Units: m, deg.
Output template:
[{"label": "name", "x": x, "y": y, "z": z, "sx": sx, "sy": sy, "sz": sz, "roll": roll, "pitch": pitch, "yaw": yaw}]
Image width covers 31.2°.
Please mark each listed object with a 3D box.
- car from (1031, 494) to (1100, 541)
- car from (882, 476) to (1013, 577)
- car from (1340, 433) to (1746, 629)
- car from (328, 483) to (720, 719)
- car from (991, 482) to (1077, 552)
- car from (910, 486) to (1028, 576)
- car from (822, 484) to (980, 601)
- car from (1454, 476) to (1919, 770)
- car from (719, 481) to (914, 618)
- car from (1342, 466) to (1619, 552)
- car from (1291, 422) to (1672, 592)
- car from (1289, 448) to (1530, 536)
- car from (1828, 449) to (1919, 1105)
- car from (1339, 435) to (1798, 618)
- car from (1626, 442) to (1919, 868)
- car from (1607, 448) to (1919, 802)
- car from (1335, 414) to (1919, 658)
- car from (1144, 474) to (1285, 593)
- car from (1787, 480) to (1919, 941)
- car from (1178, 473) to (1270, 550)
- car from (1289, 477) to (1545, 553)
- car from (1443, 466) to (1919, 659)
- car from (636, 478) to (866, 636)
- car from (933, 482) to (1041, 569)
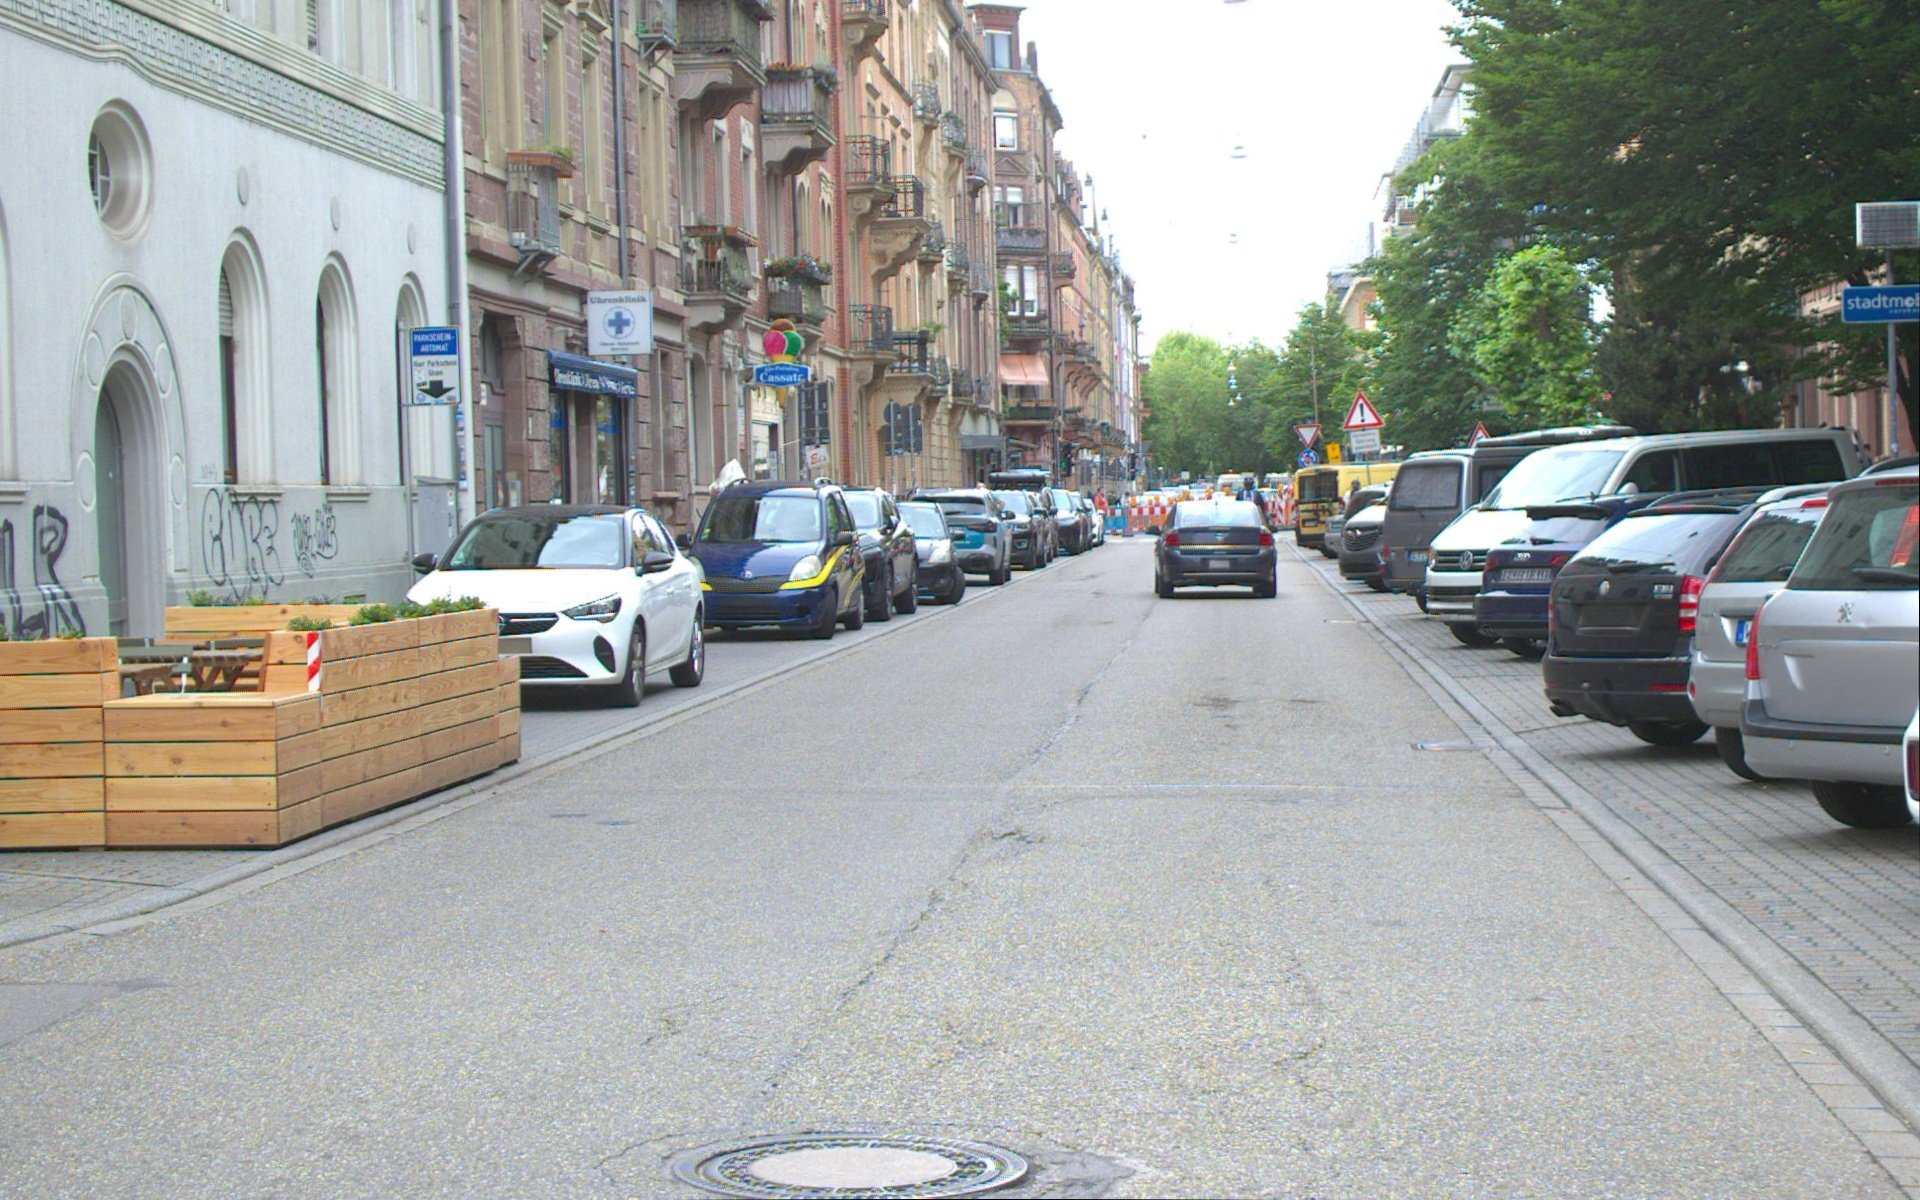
[{"label": "car", "x": 3.147, "y": -2.456, "z": 103.067, "sx": 1.993, "sy": 1.316, "sz": 4.000, "roll": -1, "pitch": 1, "yaw": 1}, {"label": "car", "x": -0.178, "y": -1.276, "z": 58.585, "sx": 1.944, "sy": 1.611, "sz": 3.942, "roll": -1, "pitch": 2, "yaw": 4}, {"label": "car", "x": 6.360, "y": -0.770, "z": 37.604, "sx": 3.986, "sy": 2.006, "sz": 1.751, "roll": -2, "pitch": 2, "yaw": -17}, {"label": "car", "x": -3.133, "y": -0.038, "z": 25.504, "sx": 1.944, "sy": 1.548, "sz": 3.816, "roll": -2, "pitch": 1, "yaw": 7}, {"label": "car", "x": 1.923, "y": -2.145, "z": 88.186, "sx": 1.944, "sy": 1.732, "sz": 3.942, "roll": -1, "pitch": 2, "yaw": 5}, {"label": "car", "x": 0.195, "y": -1.301, "z": 64.026, "sx": 1.944, "sy": 1.611, "sz": 3.942, "roll": 0, "pitch": 1, "yaw": 4}, {"label": "car", "x": -0.801, "y": -0.840, "z": 49.346, "sx": 1.944, "sy": 1.611, "sz": 3.942, "roll": 0, "pitch": 1, "yaw": 4}, {"label": "car", "x": 4.915, "y": 0.062, "z": 19.900, "sx": 3.852, "sy": 1.500, "sz": 1.771, "roll": -3, "pitch": 1, "yaw": -35}, {"label": "car", "x": -1.724, "y": -0.645, "z": 42.663, "sx": 1.944, "sy": 1.611, "sz": 3.942, "roll": 0, "pitch": 1, "yaw": 5}, {"label": "car", "x": 10.678, "y": -1.869, "z": 70.427, "sx": 5.385, "sy": 1.548, "sz": 1.951, "roll": -3, "pitch": 1, "yaw": -25}, {"label": "car", "x": 7.995, "y": -1.431, "z": 52.789, "sx": 5.385, "sy": 2.365, "sz": 1.951, "roll": -3, "pitch": 1, "yaw": -16}, {"label": "car", "x": 10.636, "y": -2.564, "z": 81.286, "sx": 5.385, "sy": 1.861, "sz": 1.951, "roll": -3, "pitch": 1, "yaw": -25}, {"label": "car", "x": 4.404, "y": 0.336, "z": 8.536, "sx": 4.046, "sy": 1.579, "sz": 1.904, "roll": -3, "pitch": 1, "yaw": -26}, {"label": "car", "x": 7.400, "y": -0.907, "z": 41.625, "sx": 5.386, "sy": 1.985, "sz": 1.950, "roll": -3, "pitch": 1, "yaw": -29}, {"label": "car", "x": 5.000, "y": 0.113, "z": 14.363, "sx": 4.046, "sy": 1.579, "sz": 1.771, "roll": -3, "pitch": 1, "yaw": -26}, {"label": "car", "x": 5.410, "y": 0.024, "z": 17.131, "sx": 4.047, "sy": 1.579, "sz": 1.771, "roll": -3, "pitch": 1, "yaw": -29}, {"label": "car", "x": 6.560, "y": -0.656, "z": 33.574, "sx": 5.607, "sy": 2.120, "sz": 1.950, "roll": -3, "pitch": 1, "yaw": -29}, {"label": "car", "x": 3.779, "y": -0.975, "z": 51.500, "sx": 1.994, "sy": 1.675, "sz": 4.000, "roll": -1, "pitch": 0, "yaw": 3}, {"label": "car", "x": 4.952, "y": 0.262, "z": 11.812, "sx": 4.047, "sy": 1.481, "sz": 1.682, "roll": -3, "pitch": 1, "yaw": -31}, {"label": "car", "x": 6.028, "y": -2.013, "z": 78.918, "sx": 1.994, "sy": 1.675, "sz": 4.000, "roll": -1, "pitch": 0, "yaw": 3}, {"label": "car", "x": 10.135, "y": -1.883, "z": 76.196, "sx": 5.385, "sy": 1.548, "sz": 1.951, "roll": -2, "pitch": 2, "yaw": -25}, {"label": "car", "x": 6.349, "y": -0.346, "z": 30.159, "sx": 3.851, "sy": 1.500, "sz": 1.771, "roll": -3, "pitch": 1, "yaw": -29}, {"label": "car", "x": -2.198, "y": -0.489, "z": 37.212, "sx": 1.944, "sy": 1.611, "sz": 3.942, "roll": 0, "pitch": 1, "yaw": 5}, {"label": "car", "x": 0.587, "y": -1.537, "z": 70.641, "sx": 1.944, "sy": 1.735, "sz": 3.942, "roll": 0, "pitch": 1, "yaw": 5}]
